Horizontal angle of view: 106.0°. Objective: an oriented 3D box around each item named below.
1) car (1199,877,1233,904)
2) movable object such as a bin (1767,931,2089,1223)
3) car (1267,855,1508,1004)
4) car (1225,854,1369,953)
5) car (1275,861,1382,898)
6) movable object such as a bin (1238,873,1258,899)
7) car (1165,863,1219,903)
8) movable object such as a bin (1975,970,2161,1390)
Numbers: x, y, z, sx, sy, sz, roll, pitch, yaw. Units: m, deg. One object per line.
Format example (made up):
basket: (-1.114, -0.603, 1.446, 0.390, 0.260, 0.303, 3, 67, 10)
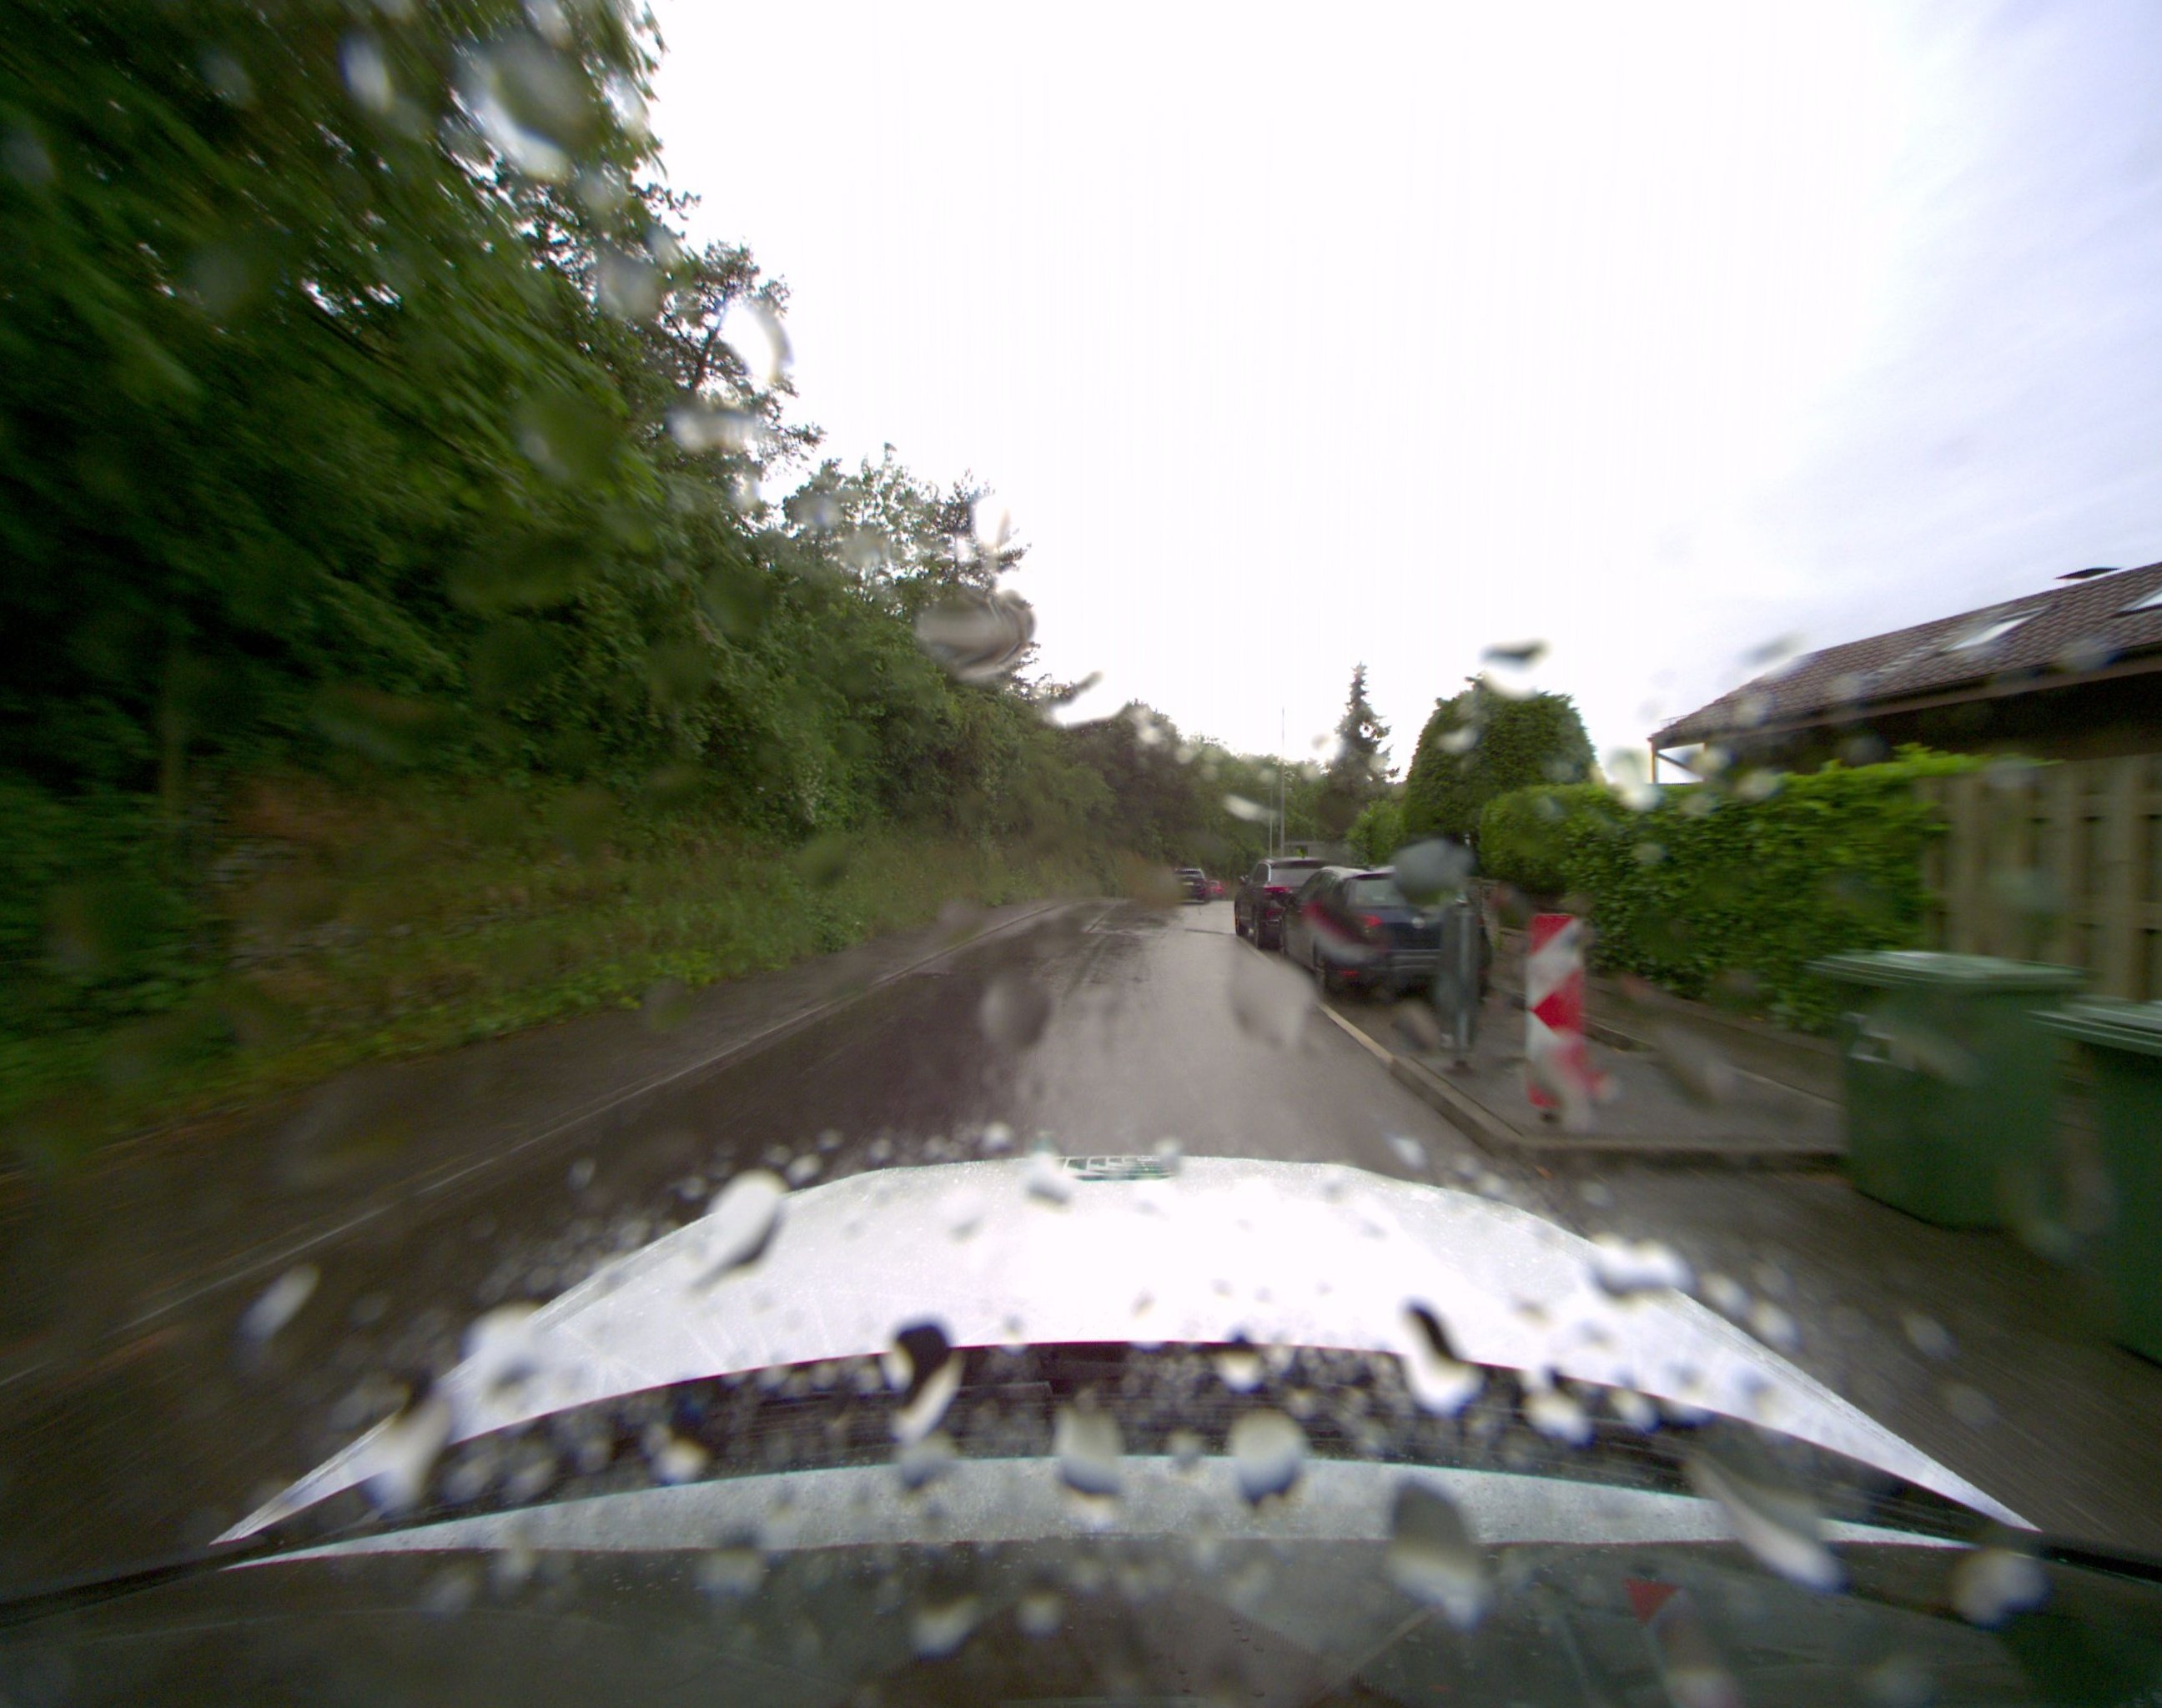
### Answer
car: (9.433, 2.506, 56.579, 1.979, 1.605, 4.426, 0, 0, 14)
movable object such as a bin: (3.627, 0.909, 3.553, 0.726, 1.078, 0.661, 0, 0, 3)
car: (3.564, 0.758, 10.326, 1.747, 1.462, 4.306, 0, 0, 5)
car: (3.875, 0.798, 15.377, 1.866, 1.592, 4.485, 0, 0, 4)
car: (10.338, 1.068, 34.107, 4.183, 1.415, 1.949, 1, -2, 17)
movable object such as a bin: (7.593, 1.460, 37.018, 0.785, 1.096, 0.677, -4, -3, 7)
car: (4.749, 1.257, 34.367, 1.855, 1.513, 4.105, 1, -4, 13)
movable object such as a bin: (3.367, 0.944, 2.419, 0.713, 1.095, 0.656, 0, 0, 0)
